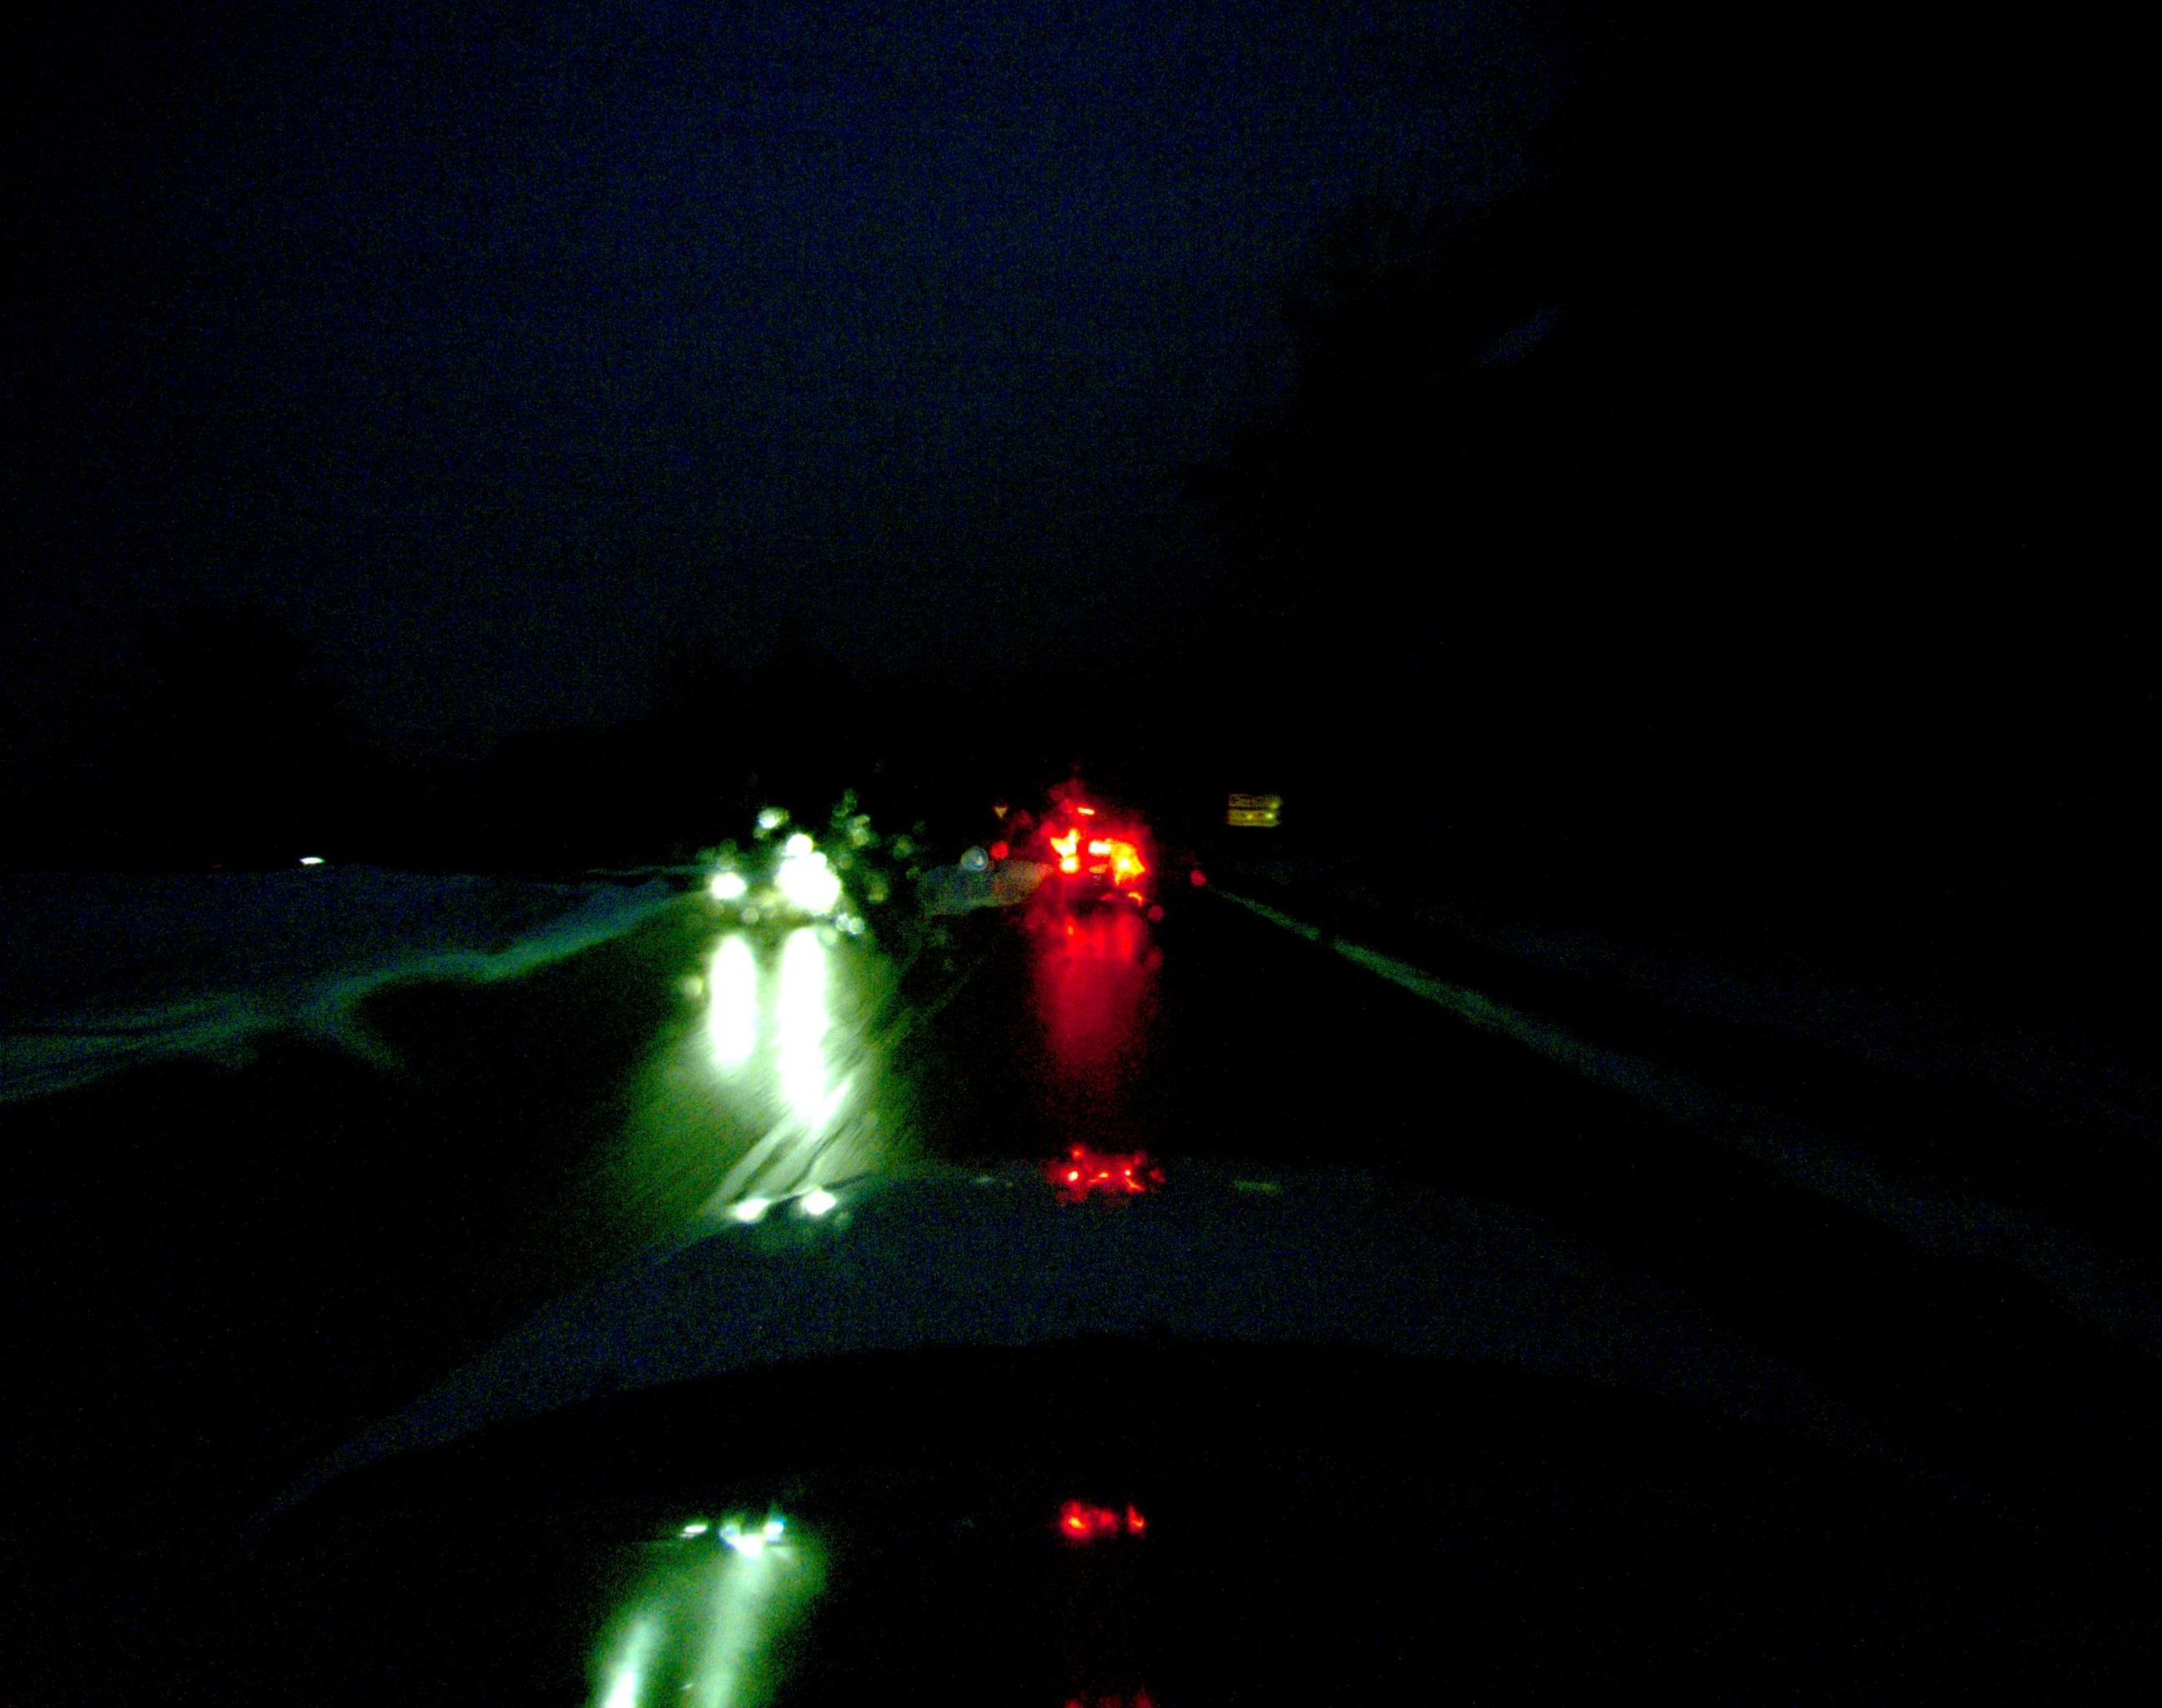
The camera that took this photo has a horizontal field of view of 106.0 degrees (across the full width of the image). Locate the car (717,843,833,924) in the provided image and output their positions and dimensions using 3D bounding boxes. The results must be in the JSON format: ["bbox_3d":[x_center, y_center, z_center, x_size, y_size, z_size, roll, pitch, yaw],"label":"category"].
[{"bbox_3d":[-6.559,0.535,17.850,1.743,1.486,3.988,-3,1,-12],"label":"car"}]

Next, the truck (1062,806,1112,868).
[{"bbox_3d":[0.197,-0.810,38.959,2.071,2.745,5.314,1,1,-3],"label":"truck"}]

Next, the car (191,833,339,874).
[{"bbox_3d":[-40.002,-0.042,40.054,5.006,1.945,1.679,0,0,-12],"label":"car"}]

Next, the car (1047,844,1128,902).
[{"bbox_3d":[0.163,0.420,21.333,1.916,1.276,4.000,0,2,0],"label":"car"}]
